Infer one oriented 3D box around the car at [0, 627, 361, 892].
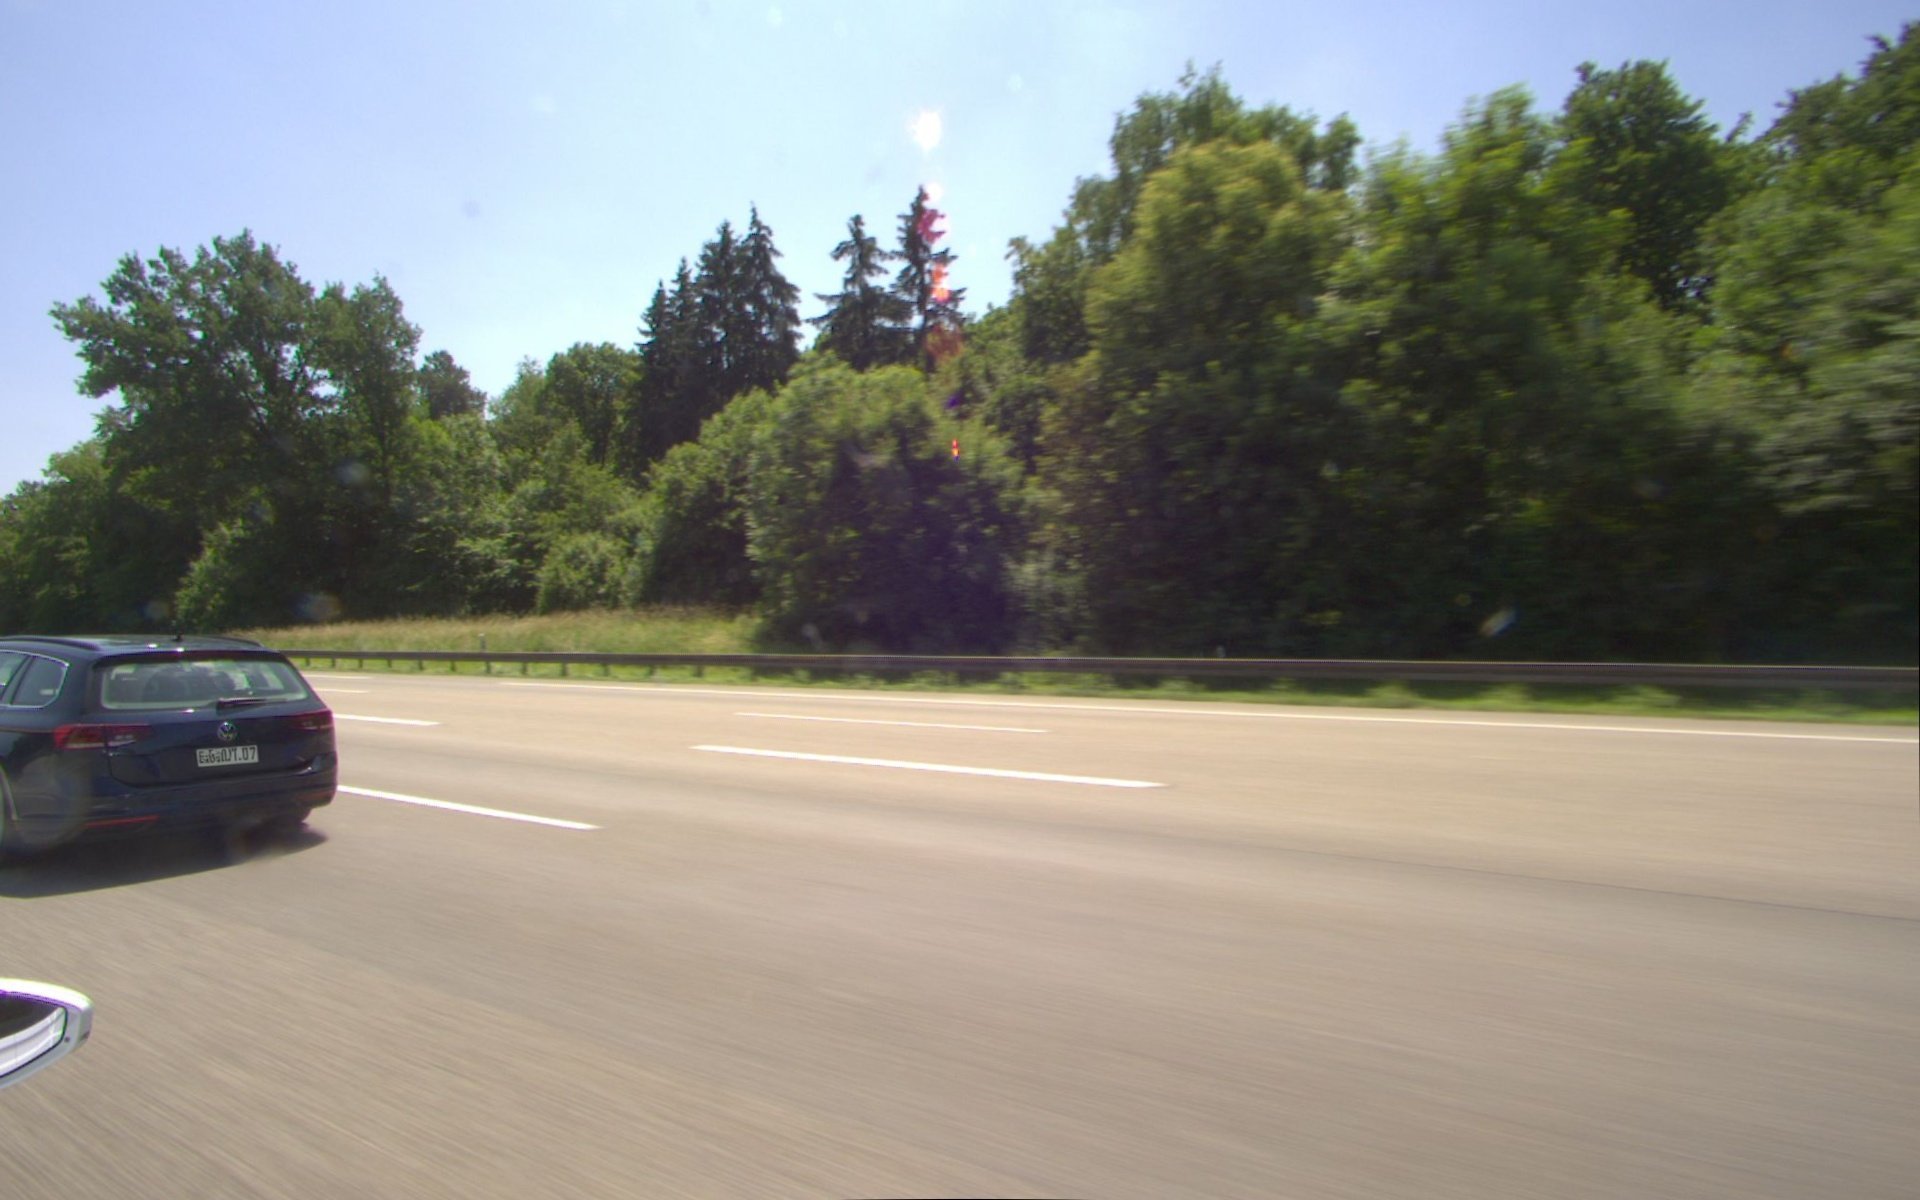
[{"bbox_3d":[-6.712,0.941,7.637,4.891,1.466,1.726,-1,-2,33],"label":"car"}]
